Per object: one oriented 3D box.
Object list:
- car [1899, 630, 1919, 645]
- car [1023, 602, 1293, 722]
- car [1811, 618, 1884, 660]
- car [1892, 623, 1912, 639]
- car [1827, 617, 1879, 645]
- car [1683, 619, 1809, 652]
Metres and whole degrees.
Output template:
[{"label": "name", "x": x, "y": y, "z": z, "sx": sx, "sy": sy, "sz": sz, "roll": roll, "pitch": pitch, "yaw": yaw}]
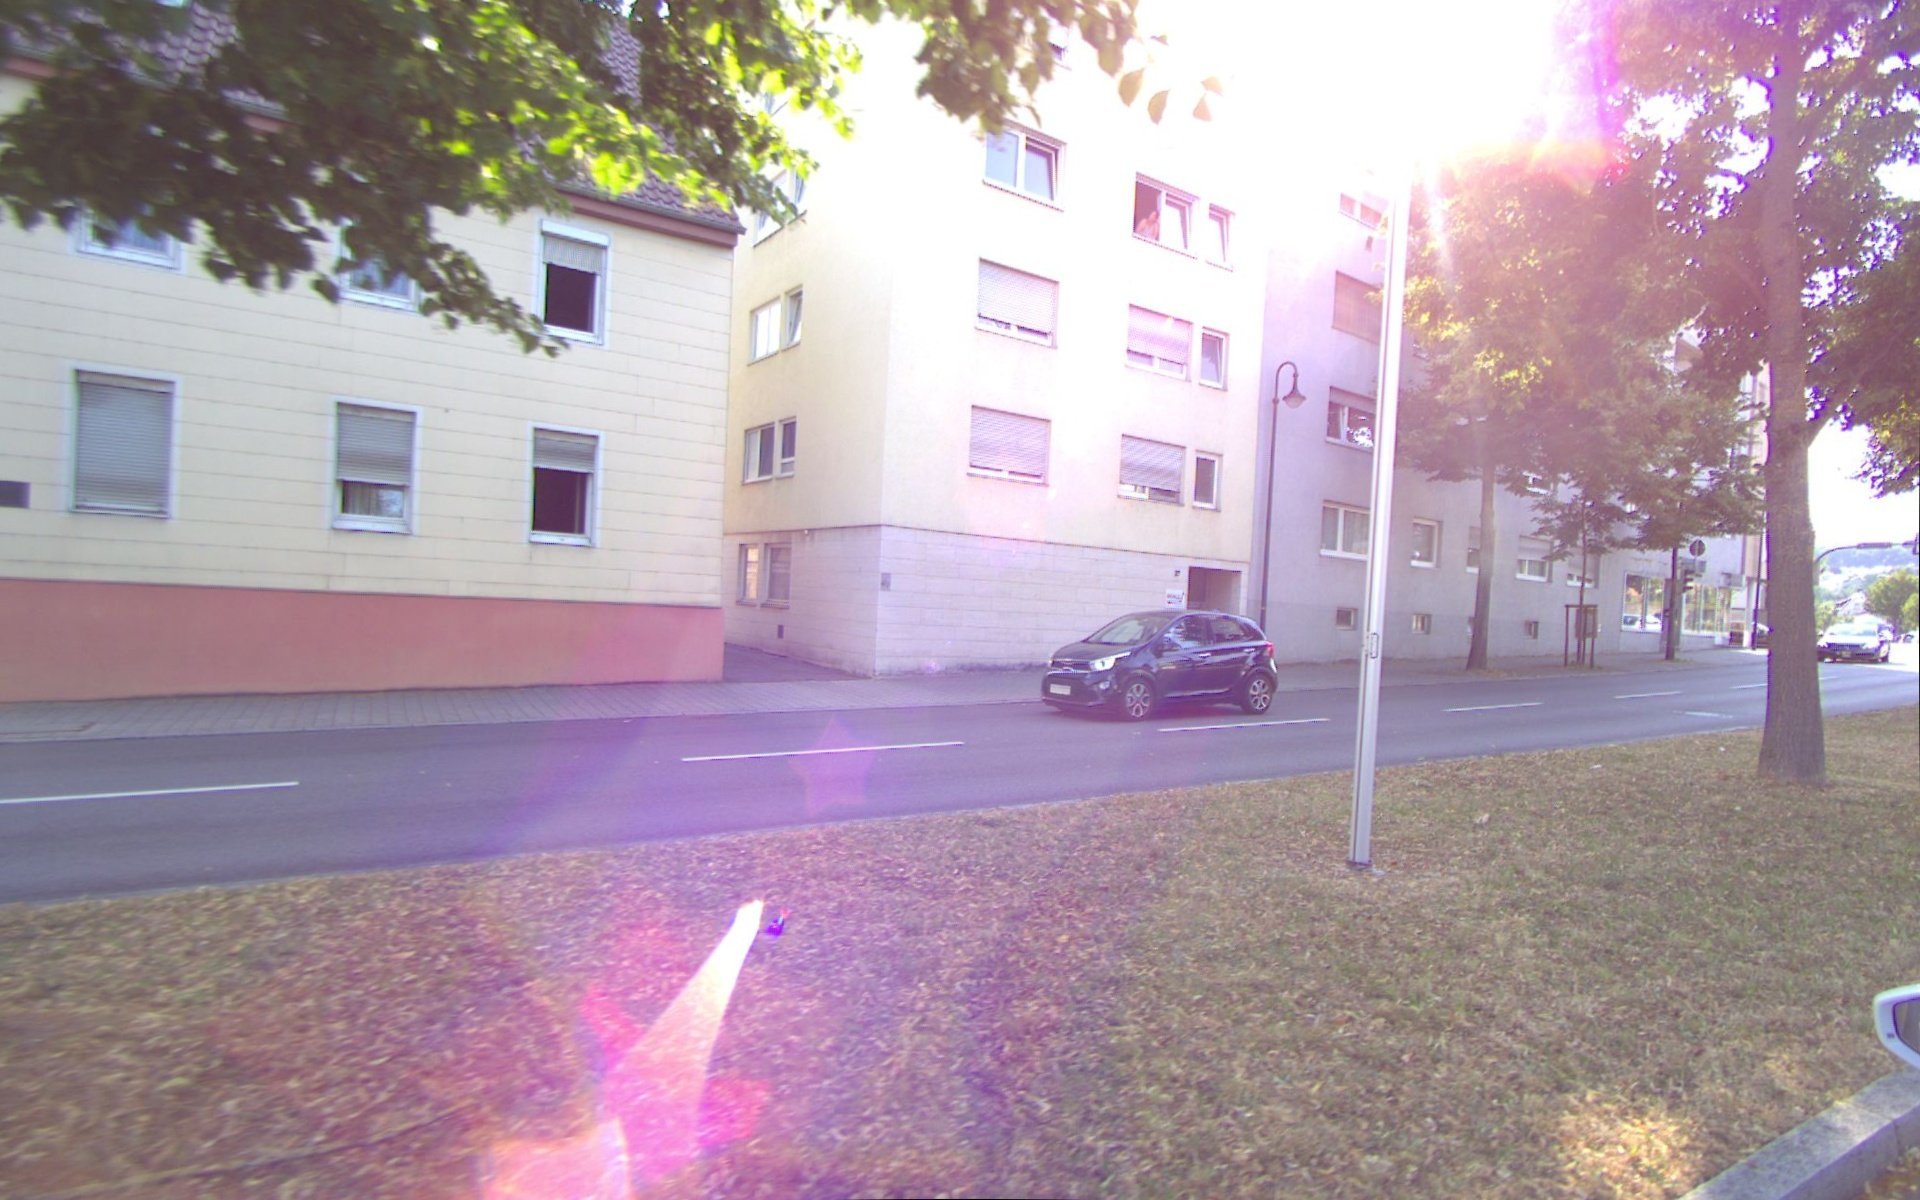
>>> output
[{"label": "car", "x": 118.726, "y": 4.705, "z": 125.057, "sx": 2.188, "sy": 1.792, "sz": 4.437, "roll": 1, "pitch": 0, "yaw": 37}, {"label": "car", "x": 2.889, "y": 0.835, "z": 14.399, "sx": 3.743, "sy": 1.506, "sz": 1.596, "roll": 2, "pitch": -1, "yaw": -33}, {"label": "car", "x": 35.102, "y": 1.516, "z": 39.687, "sx": 4.964, "sy": 1.506, "sz": 1.834, "roll": 2, "pitch": -1, "yaw": -45}, {"label": "car", "x": 126.569, "y": 4.196, "z": 134.995, "sx": 1.752, "sy": 2.040, "sz": 3.979, "roll": 2, "pitch": 0, "yaw": 42}, {"label": "car", "x": 59.954, "y": 2.067, "z": 67.484, "sx": 1.826, "sy": 1.759, "sz": 4.910, "roll": 1, "pitch": -1, "yaw": 33}, {"label": "car", "x": 39.277, "y": 1.735, "z": 50.243, "sx": 4.807, "sy": 1.456, "sz": 1.906, "roll": 1, "pitch": -1, "yaw": 44}]
